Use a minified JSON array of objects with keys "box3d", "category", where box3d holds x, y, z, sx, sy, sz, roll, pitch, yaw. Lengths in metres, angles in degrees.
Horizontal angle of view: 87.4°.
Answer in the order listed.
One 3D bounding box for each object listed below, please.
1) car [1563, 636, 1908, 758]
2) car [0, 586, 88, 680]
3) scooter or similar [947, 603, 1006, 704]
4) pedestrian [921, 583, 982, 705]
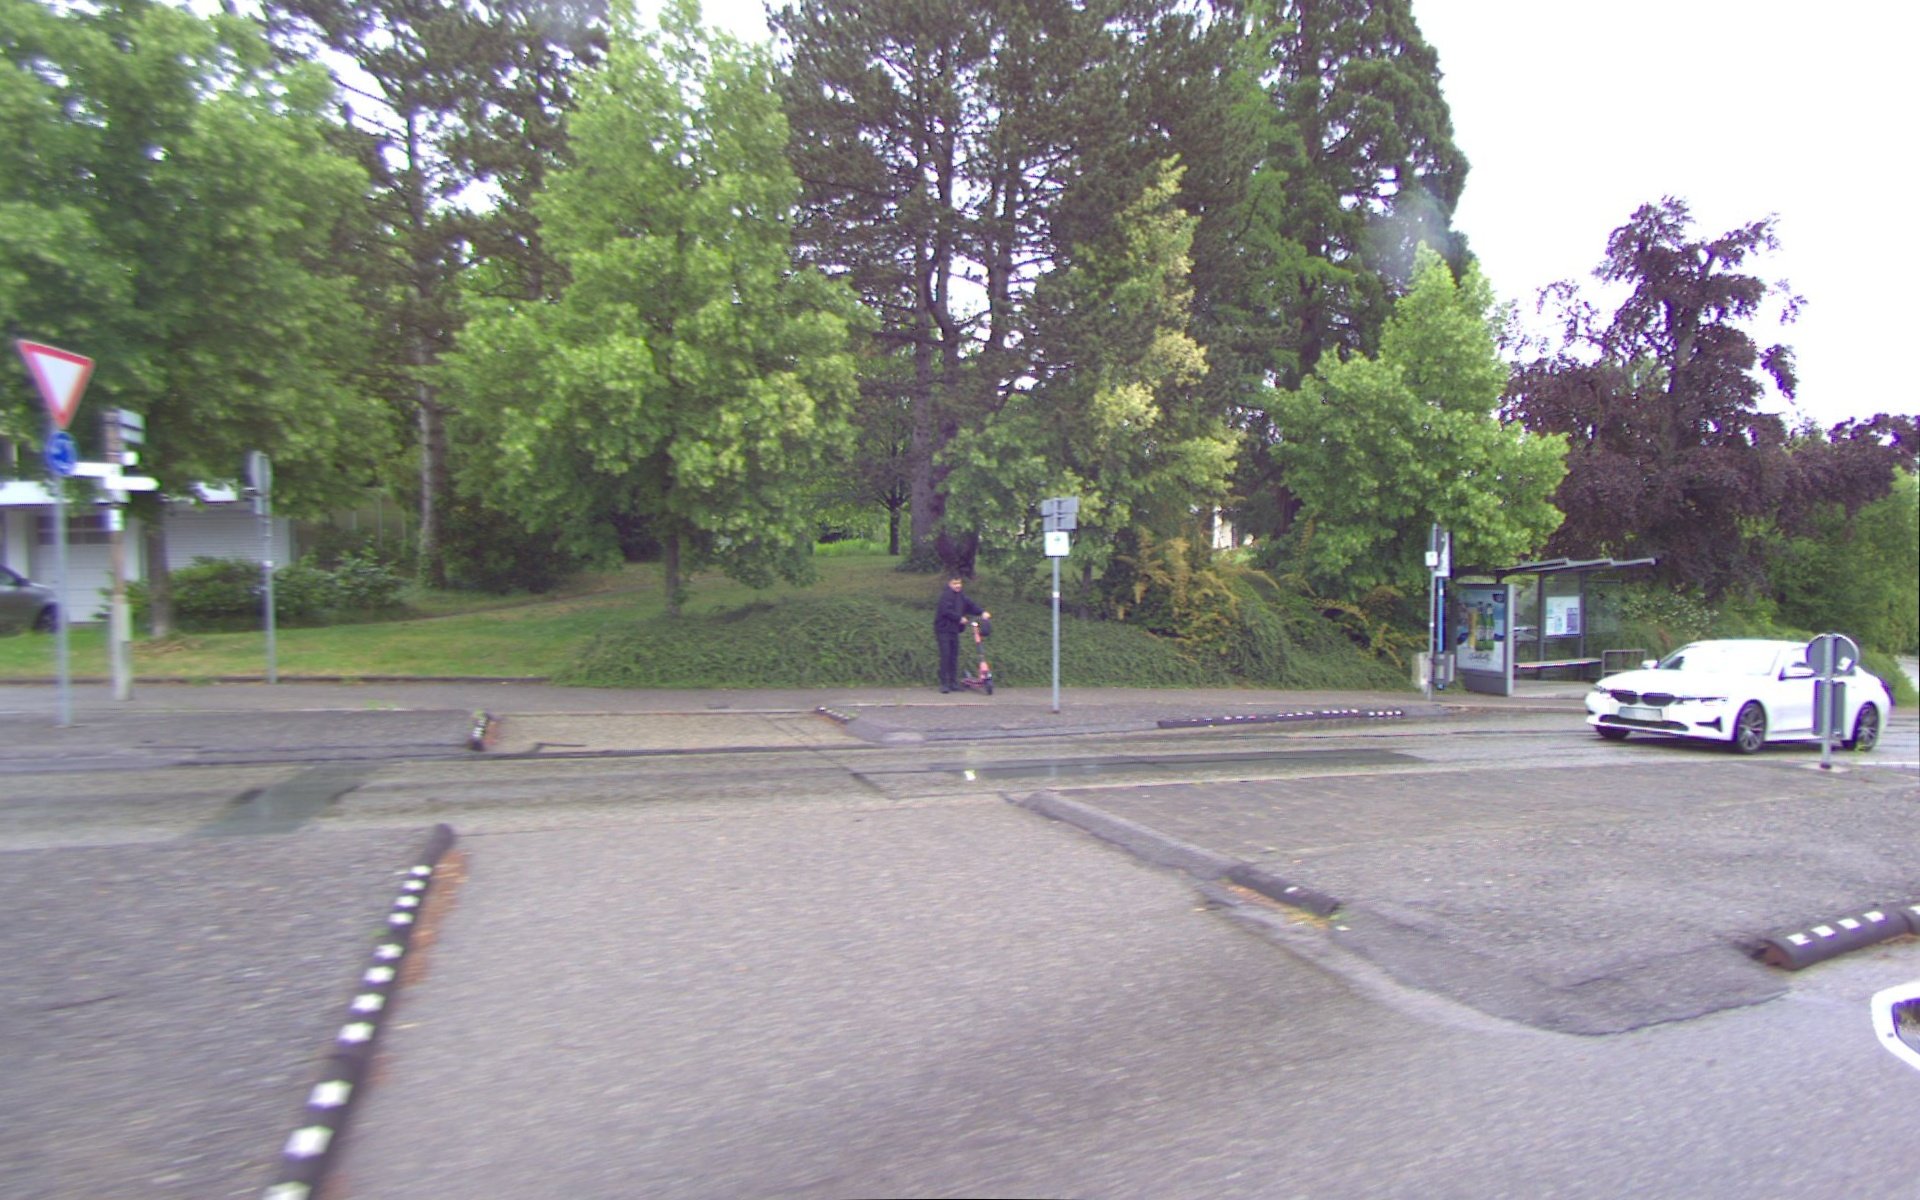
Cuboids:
[{"box3d":[10.718,1.259,13.836,4.756,1.420,1.823,2,-1,-26],"category":"car"},{"box3d":[-16.650,0.536,16.793,1.664,1.562,2.824,1,-1,0],"category":"car"},{"box3d":[0.247,0.834,16.014,0.503,1.536,1.312,1,-1,-19],"category":"scooter or similar"},{"box3d":[-0.139,0.667,15.579,0.694,1.831,0.822,1,-1,-20],"category":"pedestrian"}]
